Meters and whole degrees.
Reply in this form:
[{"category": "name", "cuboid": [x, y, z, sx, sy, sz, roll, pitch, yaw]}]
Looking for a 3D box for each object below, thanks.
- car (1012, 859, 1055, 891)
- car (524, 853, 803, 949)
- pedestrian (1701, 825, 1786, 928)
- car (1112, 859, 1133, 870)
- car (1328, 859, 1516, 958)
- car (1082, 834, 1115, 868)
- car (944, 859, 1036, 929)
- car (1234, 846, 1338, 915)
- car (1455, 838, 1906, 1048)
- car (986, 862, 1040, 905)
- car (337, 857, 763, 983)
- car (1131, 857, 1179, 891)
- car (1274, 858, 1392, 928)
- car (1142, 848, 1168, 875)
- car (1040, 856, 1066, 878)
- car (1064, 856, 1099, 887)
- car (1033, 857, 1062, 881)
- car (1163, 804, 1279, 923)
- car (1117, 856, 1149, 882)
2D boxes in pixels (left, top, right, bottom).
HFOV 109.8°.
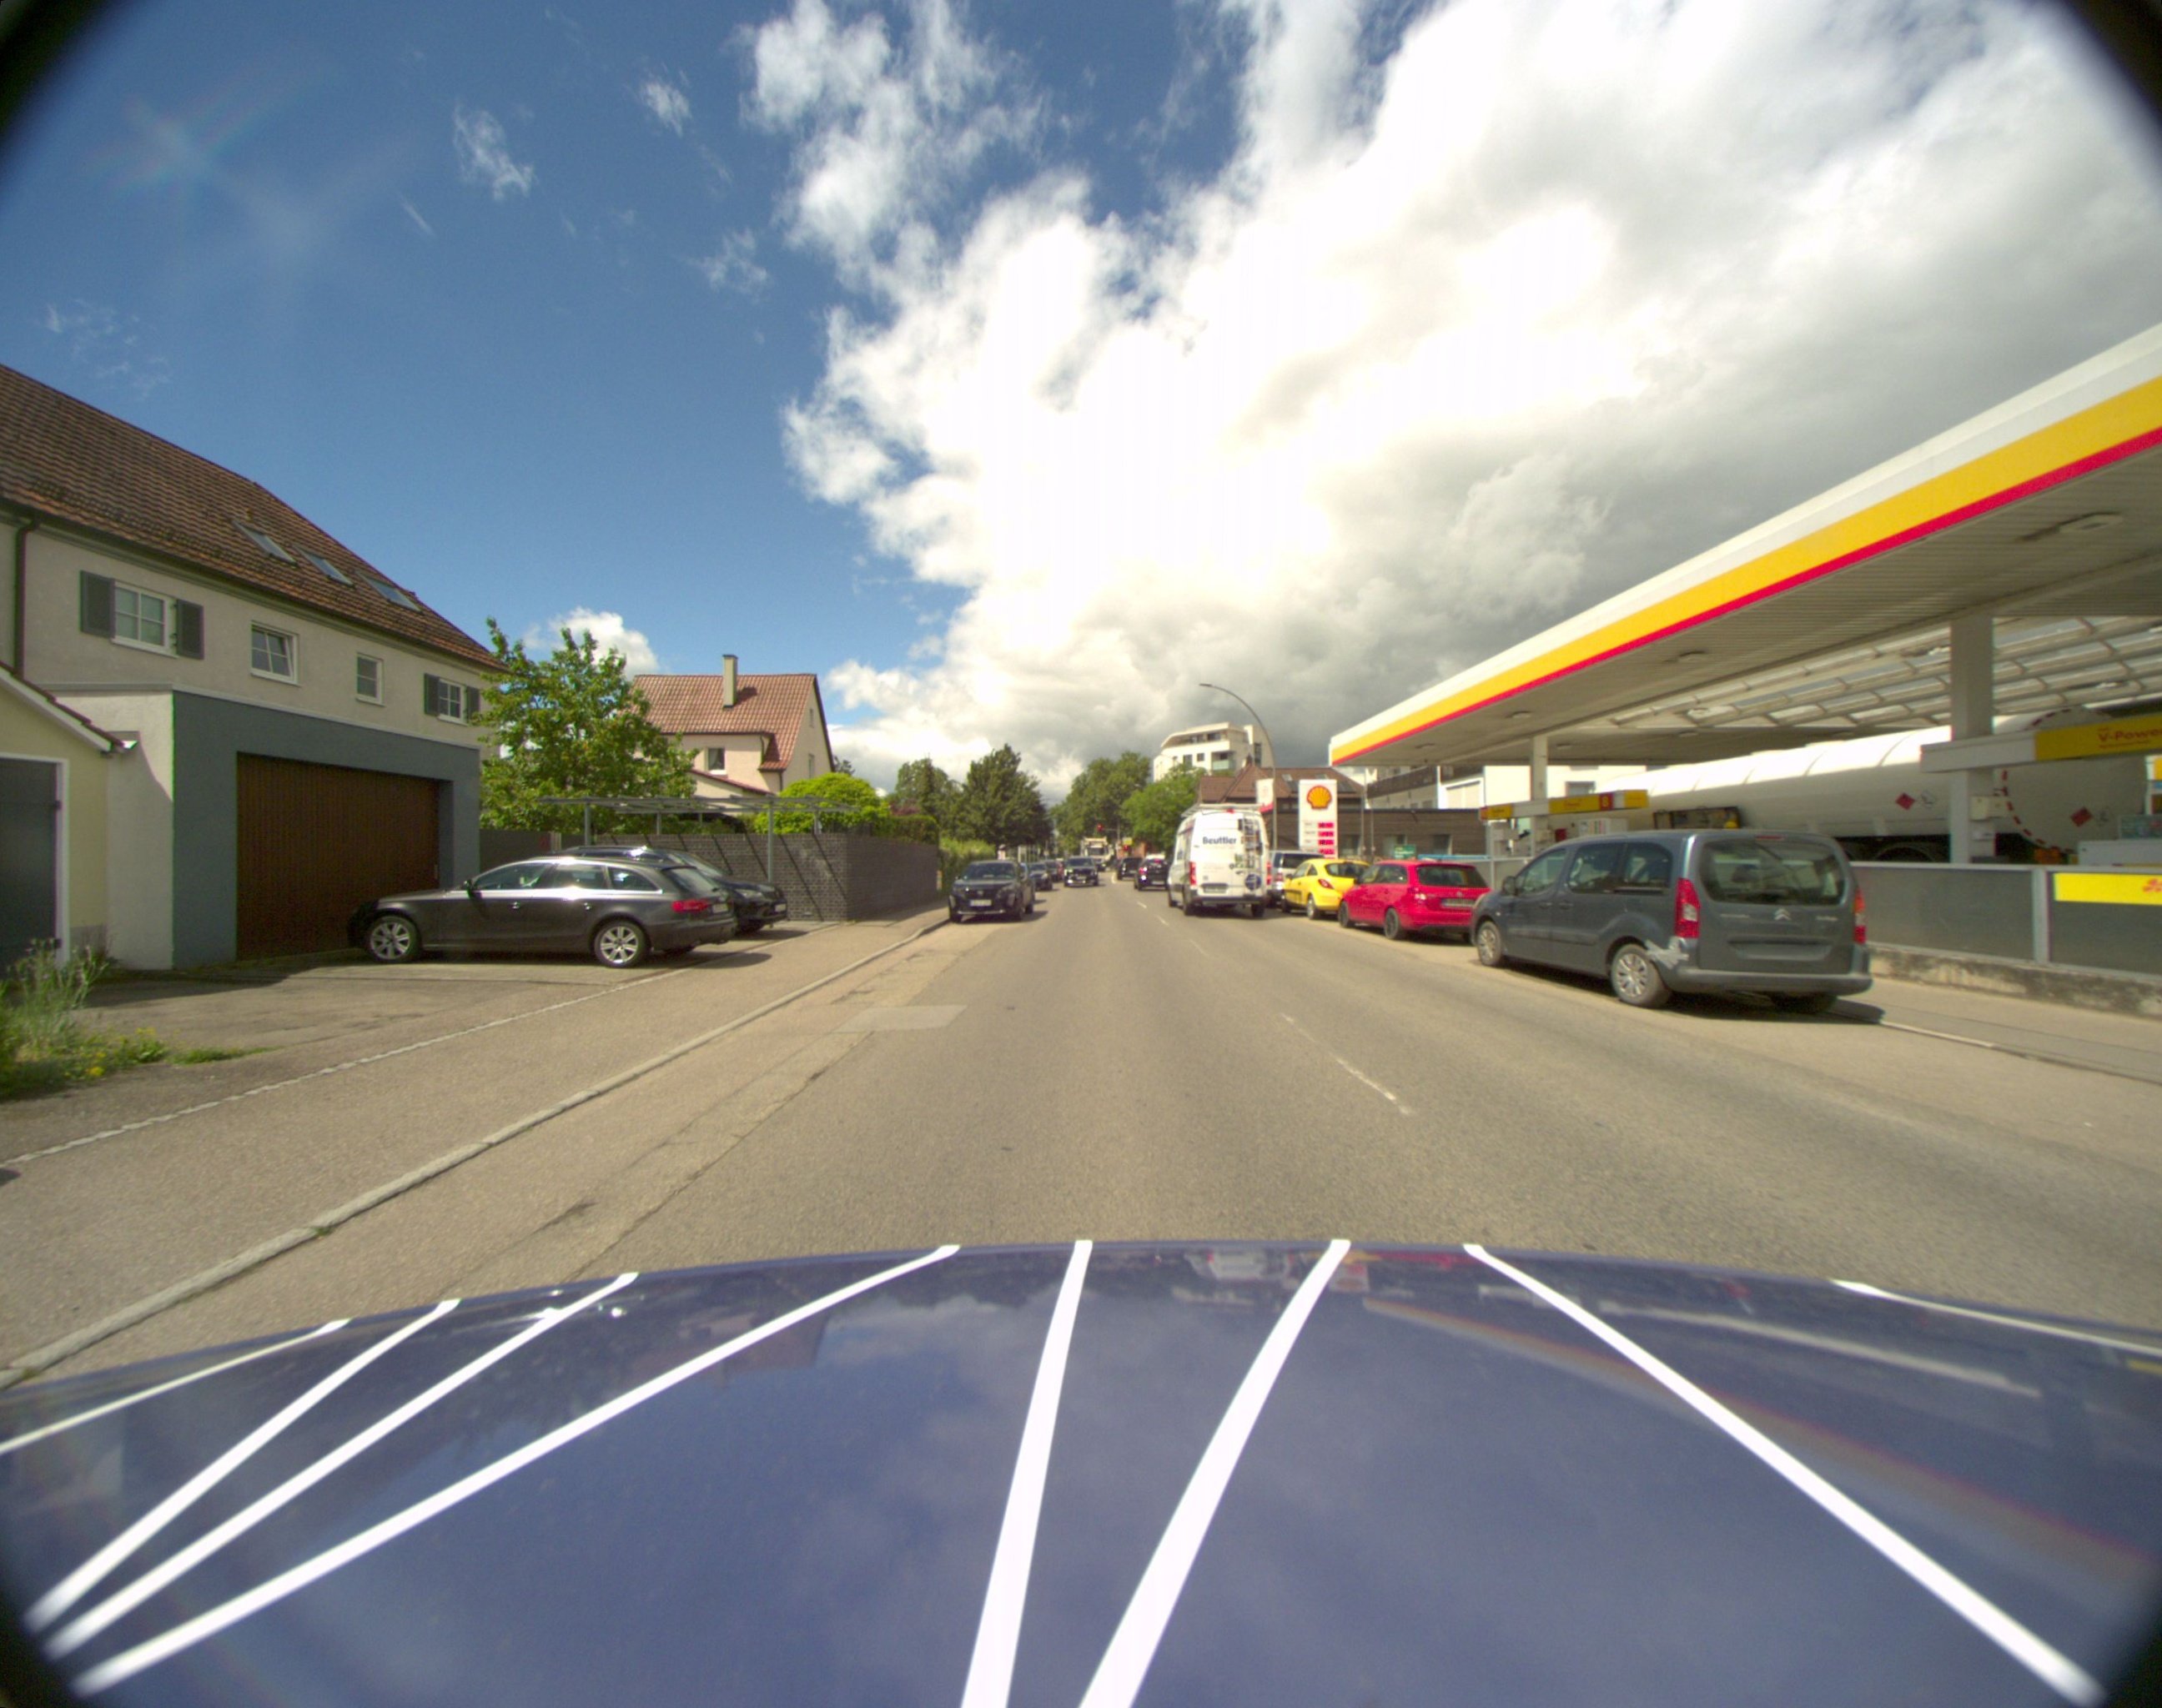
[{"category": "car", "cuboid": [-2.275, 0.991, 37.289, 1.789, 1.436, 3.772, -2, 0, 1]}, {"category": "car", "cuboid": [-7.395, 0.804, 13.797, 4.014, 1.605, 1.854, 0, 0, -3]}, {"category": "pedestrian", "cuboid": [14.628, 0.475, 16.803, 0.940, 2.166, 1.011, -3, 1, -1]}, {"category": "car", "cuboid": [5.377, 1.381, 98.933, 1.818, 1.313, 3.997, 0, 0, -9]}, {"category": "car", "cuboid": [6.311, 0.922, 14.649, 1.667, 1.506, 4.189, 3, 0, 0]}, {"category": "car", "cuboid": [1.875, -0.322, 87.773, 3.263, 3.596, 10.267, -2, 0, -1]}, {"category": "car", "cuboid": [-2.250, 0.952, 19.927, 1.789, 1.548, 4.316, -2, 0, 1]}, {"category": "car", "cuboid": [6.250, 0.747, 23.693, 1.789, 1.857, 4.315, 3, 0, -3]}, {"category": "car", "cuboid": [6.208, 0.768, 8.655, 1.733, 1.727, 4.189, 3, 0, 0]}, {"category": "car", "cuboid": [-2.417, 1.017, 27.672, 1.576, 1.423, 3.549, 0, 0, 1]}, {"category": "car", "cuboid": [-7.053, 0.845, 10.529, 4.419, 1.399, 1.974, 2, 0, -3]}, {"category": "car", "cuboid": [3.375, 0.878, 35.280, 1.852, 1.465, 3.981, 0, 0, 0]}, {"category": "car", "cuboid": [6.261, 0.898, 19.338, 1.667, 1.506, 3.945, 3, 0, 1]}, {"category": "car", "cuboid": [6.564, 0.720, 67.563, 1.789, 2.166, 4.536, -2, -2, 0]}, {"category": "car", "cuboid": [-2.121, 0.965, 58.689, 1.789, 1.555, 3.879, -2, 0, 0]}, {"category": "car", "cuboid": [0.053, 0.911, 41.837, 1.789, 1.555, 3.879, -2, 0, 0]}, {"category": "car", "cuboid": [-2.334, 1.041, 53.452, 1.789, 1.555, 3.879, -2, 0, 0]}, {"category": "car", "cuboid": [3.612, 0.209, 20.878, 1.997, 2.749, 6.164, 1, 0, 0]}, {"category": "car", "cuboid": [3.537, 1.008, 52.849, 2.064, 1.700, 4.535, -1, 0, 2]}]
